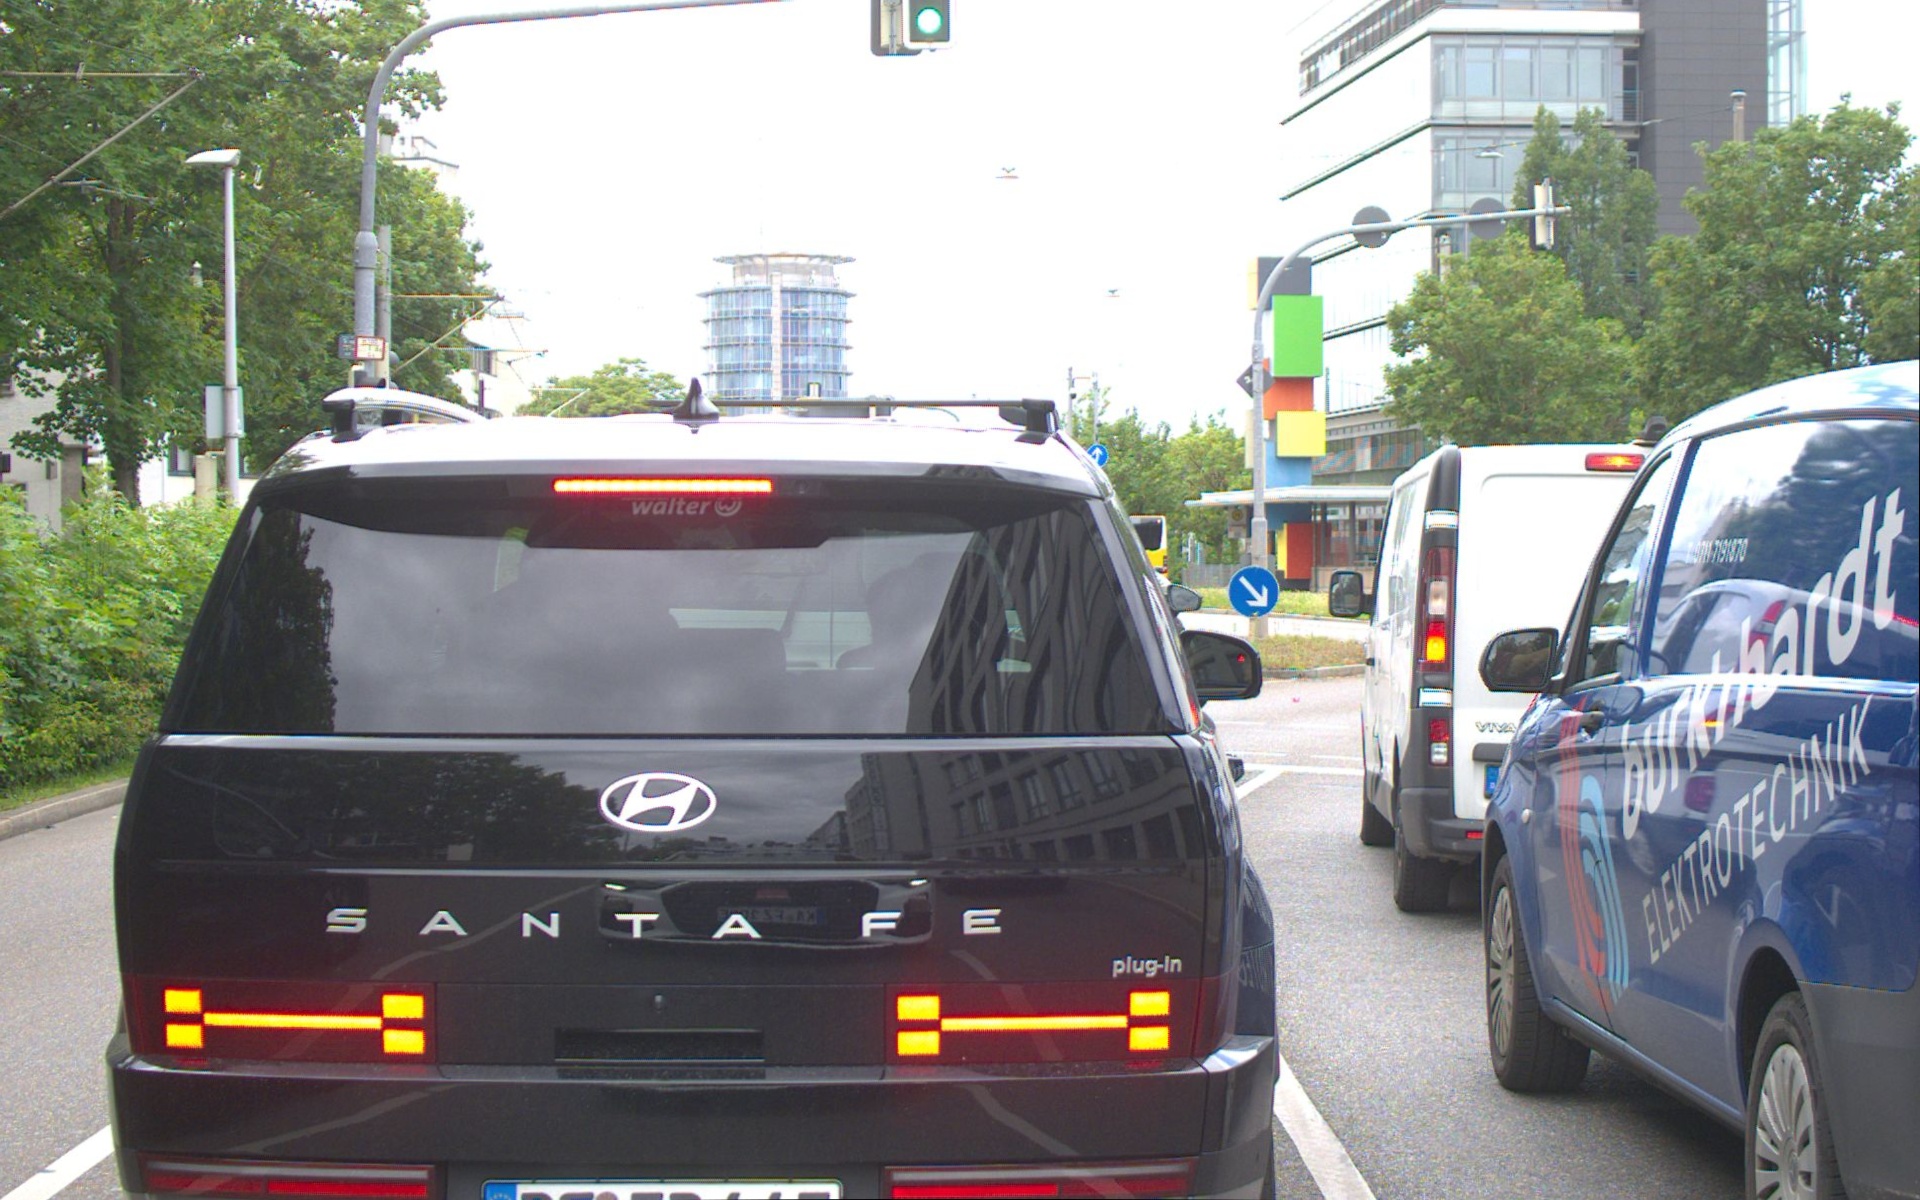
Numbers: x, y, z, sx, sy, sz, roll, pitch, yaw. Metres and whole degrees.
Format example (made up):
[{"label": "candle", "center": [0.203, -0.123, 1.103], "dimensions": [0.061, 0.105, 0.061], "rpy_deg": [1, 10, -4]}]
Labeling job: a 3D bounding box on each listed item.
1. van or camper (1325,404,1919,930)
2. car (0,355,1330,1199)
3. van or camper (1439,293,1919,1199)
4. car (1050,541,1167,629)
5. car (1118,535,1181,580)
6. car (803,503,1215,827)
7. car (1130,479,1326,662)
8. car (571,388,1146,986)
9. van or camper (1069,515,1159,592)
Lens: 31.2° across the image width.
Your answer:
[{"label": "van or camper", "center": [2.805, 0.216, 15.562], "dimensions": [1.994, 2.007, 4.652], "rpy_deg": [1, 1, 3]}, {"label": "car", "center": [-0.446, 0.510, 6.659], "dimensions": [1.869, 1.754, 3.880], "rpy_deg": [0, 1, -1]}, {"label": "van or camper", "center": [2.397, 0.430, 7.827], "dimensions": [1.859, 1.904, 5.032], "rpy_deg": [0, 1, -1]}, {"label": "car", "center": [2.794, -0.299, 65.542], "dimensions": [1.993, 1.612, 4.000], "rpy_deg": [0, 0, -1]}, {"label": "car", "center": [7.247, -1.617, 131.811], "dimensions": [1.993, 1.678, 4.000], "rpy_deg": [0, 0, -3]}, {"label": "car", "center": [0.412, 0.327, 20.519], "dimensions": [1.776, 1.711, 4.336], "rpy_deg": [1, 0, 10]}, {"label": "car", "center": [3.077, -0.341, 40.163], "dimensions": [1.993, 2.007, 4.000], "rpy_deg": [0, 0, 1]}, {"label": "car", "center": [-0.361, 0.258, 13.448], "dimensions": [1.915, 1.996, 3.880], "rpy_deg": [0, 1, -1]}, {"label": "van or camper", "center": [5.292, -1.577, 117.243], "dimensions": [1.994, 2.538, 6.575], "rpy_deg": [1, 0, 12]}]
